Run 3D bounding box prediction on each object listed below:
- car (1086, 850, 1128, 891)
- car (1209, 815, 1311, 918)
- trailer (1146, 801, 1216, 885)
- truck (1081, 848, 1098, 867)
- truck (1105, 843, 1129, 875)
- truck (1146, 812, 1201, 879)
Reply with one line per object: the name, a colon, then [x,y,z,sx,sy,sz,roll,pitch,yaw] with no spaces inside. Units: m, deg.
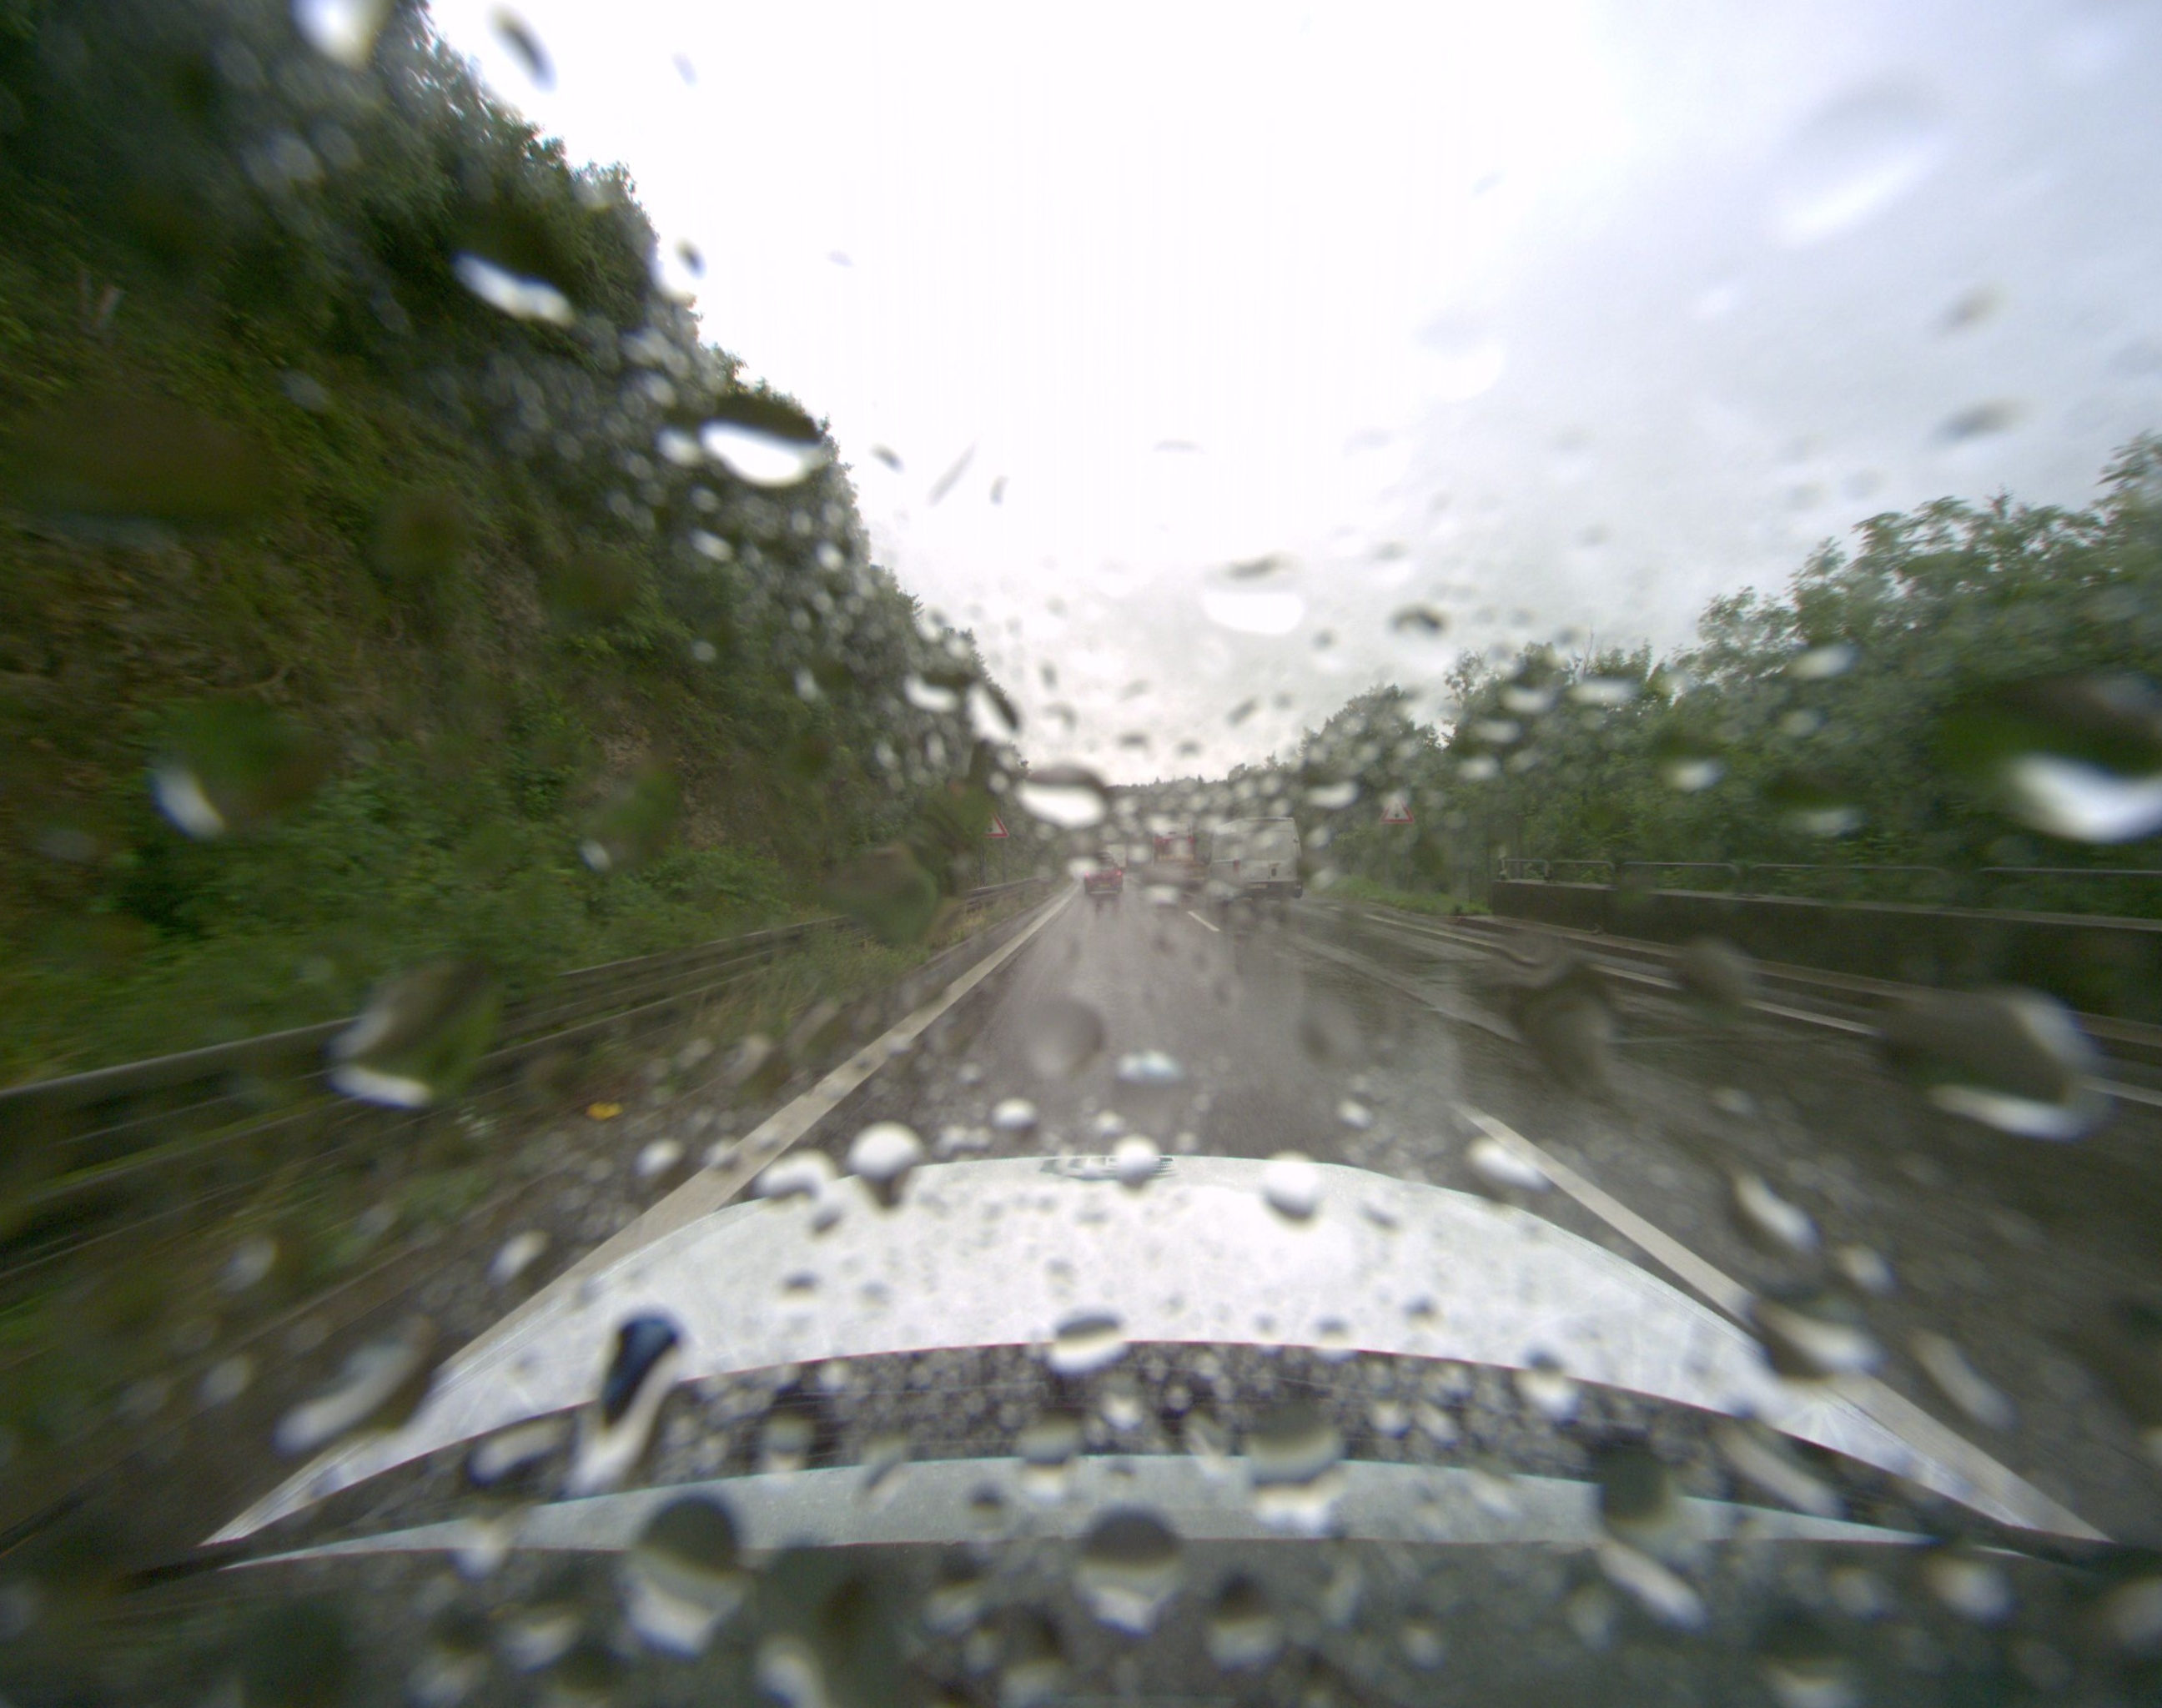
car: [1.228,0.721,37.405,1.751,1.684,4.002,-3,0,2]
car: [5.466,0.344,25.935,2.196,2.794,7.392,1,0,5]
trailer: [5.300,-0.490,45.632,3.204,3.999,13.538,-1,0,4]
truck: [1.622,0.680,149.700,3.051,3.312,8.071,0,0,1]
truck: [4.943,0.670,113.009,2.679,4.094,9.312,-3,0,0]
truck: [5.722,-0.482,51.445,3.205,3.978,5.444,-1,0,4]
